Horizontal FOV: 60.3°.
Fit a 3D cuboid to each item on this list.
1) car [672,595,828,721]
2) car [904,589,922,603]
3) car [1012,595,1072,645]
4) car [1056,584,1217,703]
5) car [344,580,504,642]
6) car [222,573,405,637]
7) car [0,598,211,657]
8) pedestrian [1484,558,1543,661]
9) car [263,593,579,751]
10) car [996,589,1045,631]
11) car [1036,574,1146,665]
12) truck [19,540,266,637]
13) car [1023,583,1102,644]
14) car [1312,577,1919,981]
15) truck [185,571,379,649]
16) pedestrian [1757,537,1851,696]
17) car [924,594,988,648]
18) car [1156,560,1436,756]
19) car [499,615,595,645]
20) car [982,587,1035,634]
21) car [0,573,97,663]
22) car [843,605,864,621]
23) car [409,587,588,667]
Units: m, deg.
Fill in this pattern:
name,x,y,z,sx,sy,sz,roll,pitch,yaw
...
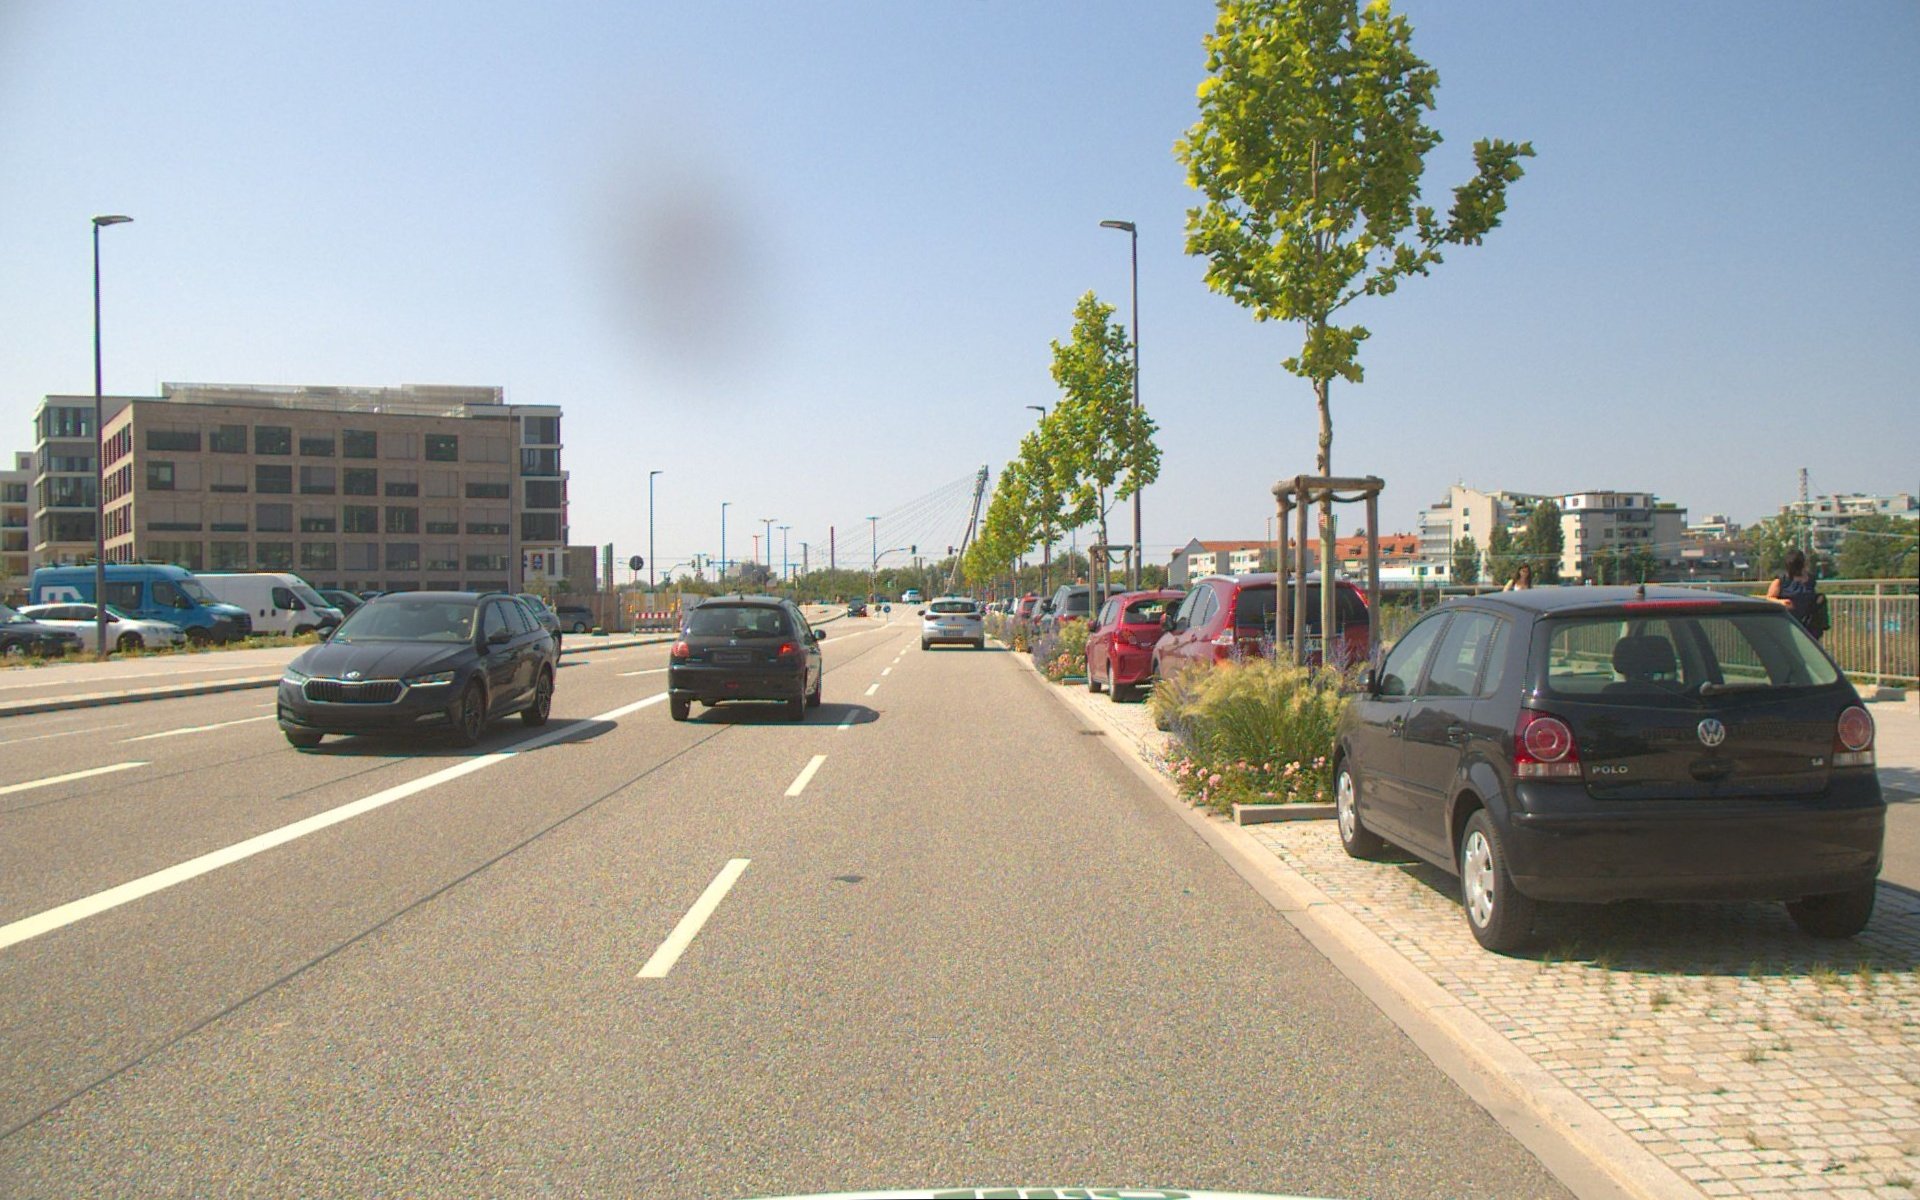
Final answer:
name,x,y,z,sx,sy,sz,roll,pitch,yaw
car,-2.557,0.666,20.820,1.587,1.441,3.726,0,0,-2
car,-5.933,-0.530,209.190,1.820,1.678,3.992,1,0,-8
car,2.605,0.628,53.195,1.682,1.476,4.000,1,1,-1
car,2.476,0.580,24.036,1.572,1.517,3.814,-2,0,-5
car,-20.450,0.408,63.267,5.336,2.211,2.393,-1,0,-4
car,-23.661,0.159,60.740,5.766,2.203,2.394,-1,1,-4
car,-23.123,0.709,43.837,5.538,1.500,2.106,0,0,-3
pedestrian,9.491,0.163,28.380,0.764,1.735,0.742,0,0,0
car,-5.414,0.649,17.289,1.750,1.422,4.572,0,0,1
car,2.442,0.392,66.065,1.869,1.605,4.159,-1,0,2
car,2.582,0.365,33.395,1.699,1.636,4.239,-2,0,-2
truck,-23.397,-0.329,47.546,5.886,2.588,2.273,-1,0,-5
car,2.520,0.319,41.552,1.600,1.454,4.239,0,0,-2
car,2.932,0.654,8.158,1.587,1.505,3.824,-1,1,0
truck,-22.386,0.310,54.793,5.455,2.404,2.274,-1,0,-2
pedestrian,9.454,0.189,18.548,0.717,1.735,0.651,1,-2,0
car,-0.081,0.572,47.117,1.741,1.467,4.001,0,0,1
car,3.145,0.471,16.421,1.869,1.645,4.549,-1,1,0
car,-20.403,1.448,81.712,4.200,1.341,1.975,-1,0,-36
car,1.685,0.350,58.463,1.682,1.551,3.642,1,0,-1
car,-21.936,0.425,37.413,3.902,1.937,1.829,-1,0,7
car,-9.906,1.231,153.837,1.669,1.376,4.455,-1,-1,-1
car,-9.297,0.507,33.695,1.862,1.522,4.391,0,0,9
